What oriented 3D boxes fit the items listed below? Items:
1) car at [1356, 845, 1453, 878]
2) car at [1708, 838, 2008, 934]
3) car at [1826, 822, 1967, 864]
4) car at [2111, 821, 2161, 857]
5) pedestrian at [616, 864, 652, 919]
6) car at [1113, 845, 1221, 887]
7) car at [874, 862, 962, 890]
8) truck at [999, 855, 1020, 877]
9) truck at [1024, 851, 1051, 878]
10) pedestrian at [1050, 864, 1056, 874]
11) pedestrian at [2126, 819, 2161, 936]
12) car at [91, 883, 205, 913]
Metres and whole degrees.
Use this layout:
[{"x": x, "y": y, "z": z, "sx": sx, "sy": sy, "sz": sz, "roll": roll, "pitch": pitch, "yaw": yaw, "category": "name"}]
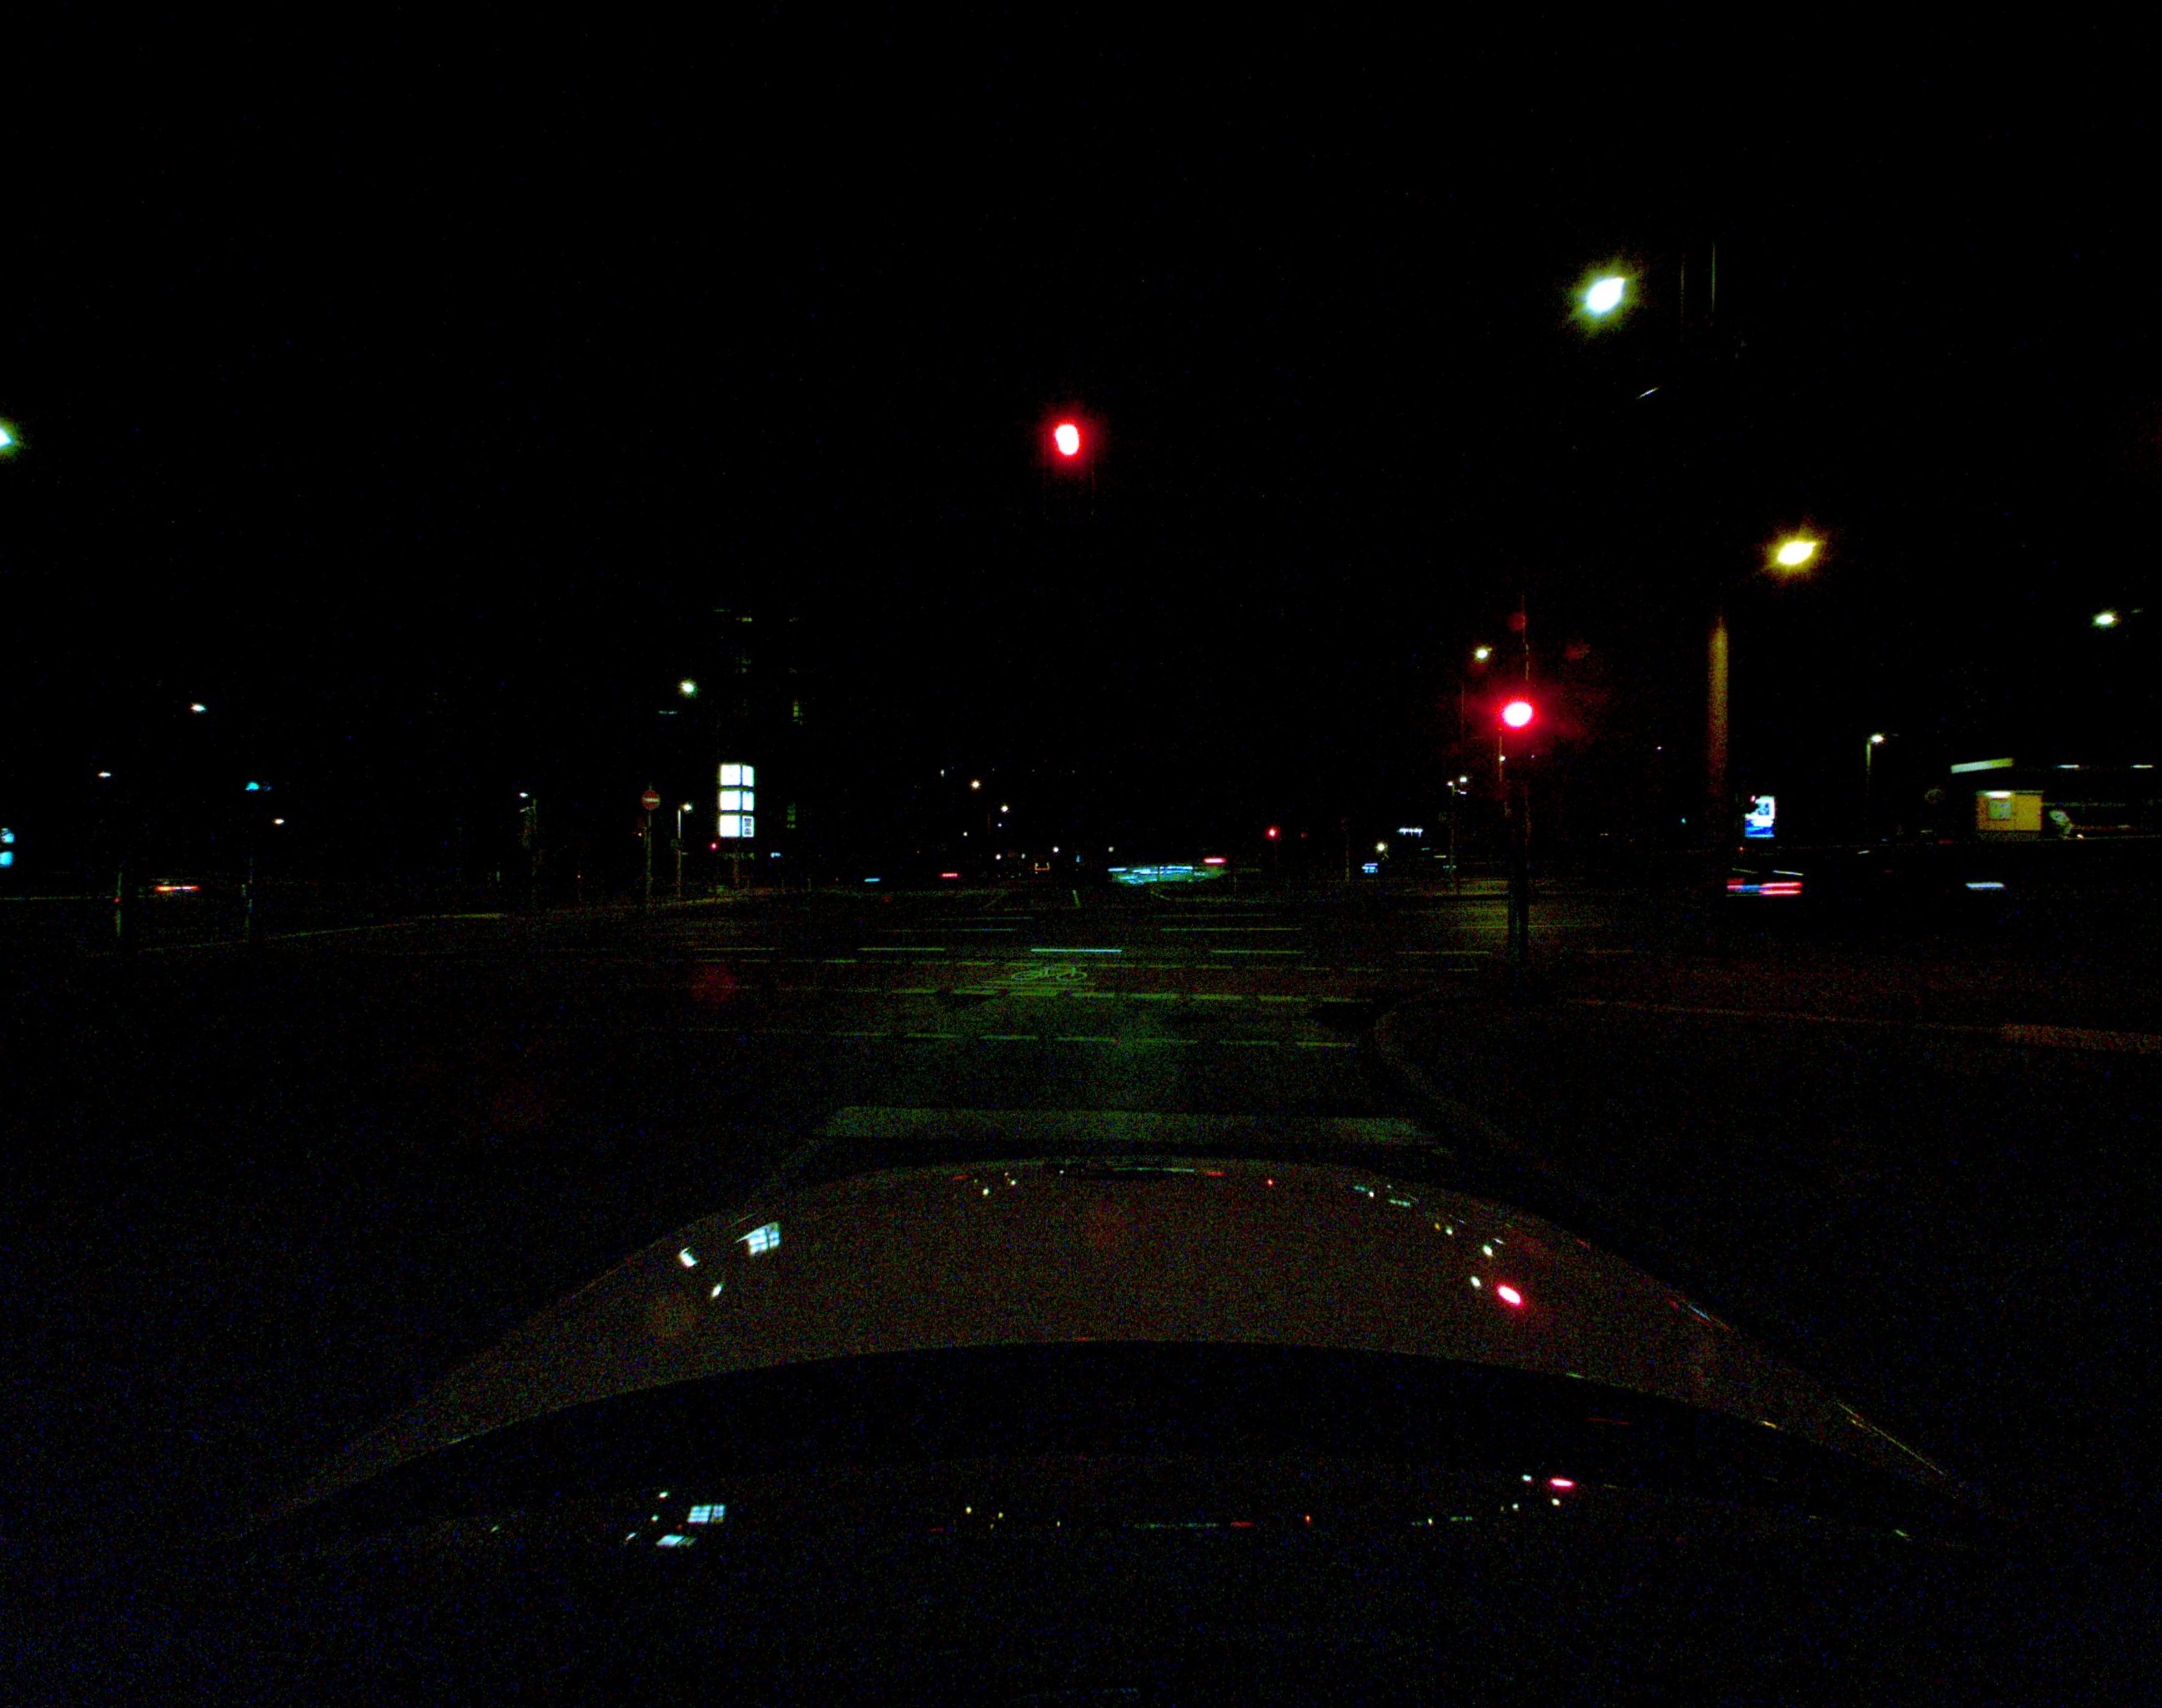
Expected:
[{"x": 15.591, "y": 0.348, "z": 39.408, "sx": 4.041, "sy": 1.424, "sz": 1.846, "roll": -1, "pitch": 1, "yaw": 5, "category": "car"}, {"x": 14.084, "y": 0.545, "z": 14.926, "sx": 3.861, "sy": 1.473, "sz": 1.660, "roll": -2, "pitch": 2, "yaw": 2, "category": "car"}, {"x": 34.614, "y": -0.457, "z": 34.655, "sx": 3.965, "sy": 1.585, "sz": 1.807, "roll": -2, "pitch": 0, "yaw": 7, "category": "car"}, {"x": 50.300, "y": -0.691, "z": 37.063, "sx": 4.212, "sy": 1.585, "sz": 1.806, "roll": 0, "pitch": -1, "yaw": 6, "category": "car"}, {"x": -14.052, "y": 1.167, "z": 25.602, "sx": 0.670, "sy": 1.722, "sz": 0.710, "roll": -1, "pitch": -2, "yaw": 27, "category": "pedestrian"}, {"x": 3.889, "y": 0.557, "z": 37.141, "sx": 4.757, "sy": 1.844, "sz": 1.845, "roll": 0, "pitch": -1, "yaw": 5, "category": "car"}, {"x": -8.842, "y": 1.195, "z": 44.345, "sx": 4.306, "sy": 1.388, "sz": 1.845, "roll": -2, "pitch": -1, "yaw": 5, "category": "car"}, {"x": -10.634, "y": 1.808, "z": 120.203, "sx": 2.419, "sy": 3.089, "sz": 6.412, "roll": 0, "pitch": -1, "yaw": -11, "category": "truck"}, {"x": -7.997, "y": 1.927, "z": 149.256, "sx": 3.366, "sy": 4.843, "sz": 7.865, "roll": 0, "pitch": -1, "yaw": -14, "category": "truck"}, {"x": -5.048, "y": 2.734, "z": 147.990, "sx": 0.851, "sy": 1.912, "sz": 1.001, "roll": 0, "pitch": -1, "yaw": -16, "category": "pedestrian"}, {"x": 15.839, "y": 0.300, "z": 11.603, "sx": 0.870, "sy": 1.656, "sz": 0.843, "roll": -7, "pitch": -5, "yaw": 42, "category": "pedestrian"}, {"x": -52.513, "y": 2.465, "z": 45.907, "sx": 4.377, "sy": 1.644, "sz": 1.944, "roll": 0, "pitch": -1, "yaw": 5, "category": "car"}]
